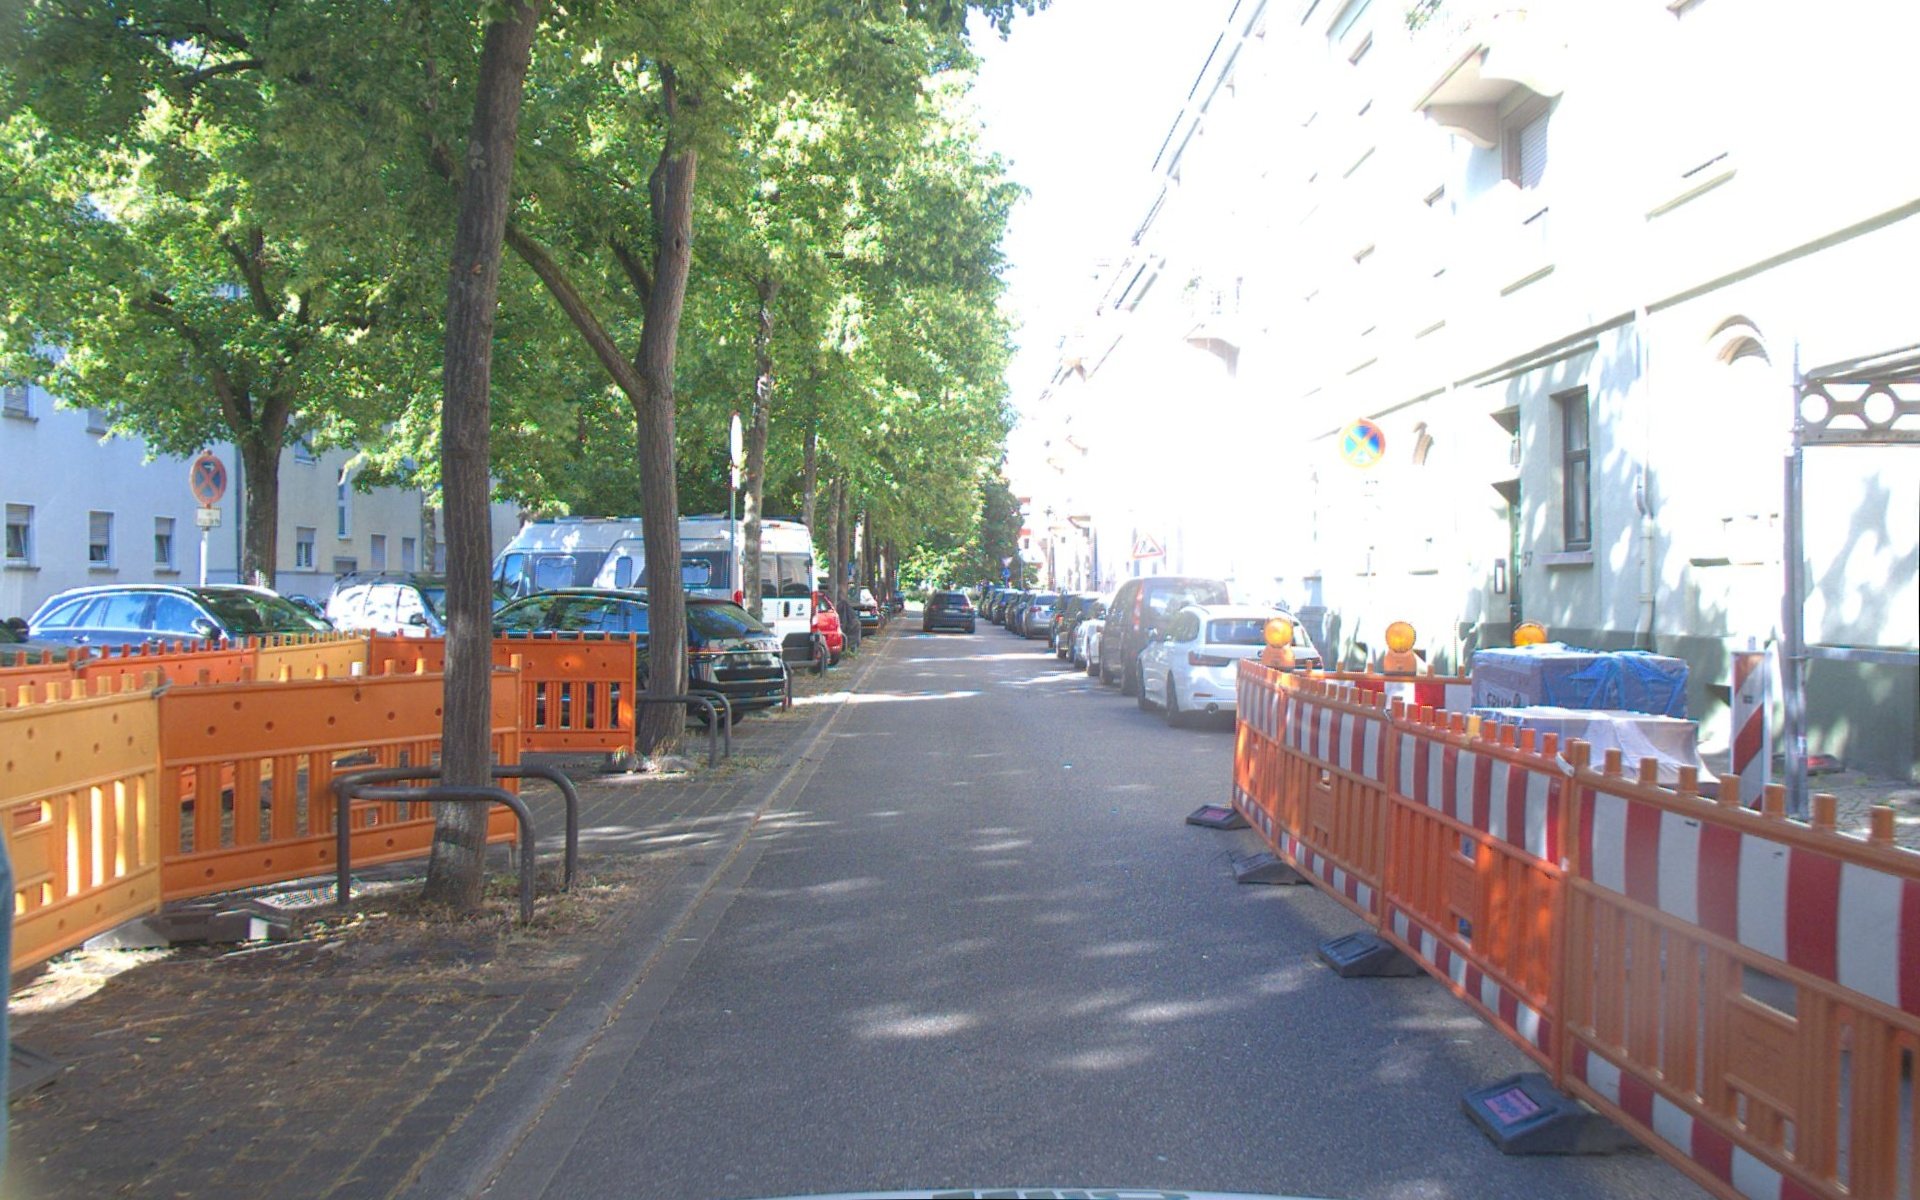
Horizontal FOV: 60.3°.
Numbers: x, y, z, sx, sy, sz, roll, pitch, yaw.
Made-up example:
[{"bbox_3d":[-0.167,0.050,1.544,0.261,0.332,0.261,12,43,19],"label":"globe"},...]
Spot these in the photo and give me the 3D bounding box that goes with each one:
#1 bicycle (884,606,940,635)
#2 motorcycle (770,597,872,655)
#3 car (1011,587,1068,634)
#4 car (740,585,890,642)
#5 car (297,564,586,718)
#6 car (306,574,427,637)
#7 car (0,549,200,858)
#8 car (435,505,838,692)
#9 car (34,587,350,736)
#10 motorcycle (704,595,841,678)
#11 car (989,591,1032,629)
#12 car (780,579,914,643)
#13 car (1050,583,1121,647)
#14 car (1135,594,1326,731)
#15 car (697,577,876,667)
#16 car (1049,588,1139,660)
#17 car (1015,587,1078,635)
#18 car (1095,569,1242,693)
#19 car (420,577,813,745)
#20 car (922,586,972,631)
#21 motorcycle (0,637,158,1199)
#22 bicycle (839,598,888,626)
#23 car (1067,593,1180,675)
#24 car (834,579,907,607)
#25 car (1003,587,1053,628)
[{"bbox_3d":[-1.605,0.679,55.545,1.858,0.935,0.379,1,0,19],"label":"bicycle"},{"bbox_3d":[-3.048,0.557,36.386,2.101,1.251,0.882,0,0,8],"label":"motorcycle"},{"bbox_3d":[2.745,0.333,58.177,1.731,1.579,4.183,-1,0,-1],"label":"car"},{"bbox_3d":[-3.977,0.375,45.181,3.937,1.499,1.621,-1,0,34],"label":"car"},{"bbox_3d":[-7.310,0.518,23.129,4.307,1.948,1.988,0,0,43],"label":"car"},{"bbox_3d":[-14.943,0.108,41.851,1.715,1.461,4.079,-2,1,-3],"label":"car"},{"bbox_3d":[-6.845,0.583,10.077,4.035,1.654,1.698,-1,0,22],"label":"car"},{"bbox_3d":[-5.083,-0.033,25.608,6.192,2.603,2.333,0,0,31],"label":"car"},{"bbox_3d":[-8.084,0.630,17.452,2.884,1.478,1.245,-1,0,16],"label":"car"},{"bbox_3d":[-3.255,0.619,28.655,2.277,1.358,0.966,-1,0,-11],"label":"motorcycle"},{"bbox_3d":[2.215,0.429,73.167,1.768,1.591,4.321,-1,0,0],"label":"car"},{"bbox_3d":[-5.531,0.538,80.930,5.937,2.668,2.457,-4,-2,14],"label":"car"},{"bbox_3d":[3.262,0.363,43.556,1.548,1.578,4.041,0,0,0],"label":"car"},{"bbox_3d":[3.332,0.707,21.113,1.670,1.538,4.283,-1,0,-1],"label":"car"},{"bbox_3d":[-3.484,0.413,32.735,1.649,1.646,3.823,-2,1,-40],"label":"car"},{"bbox_3d":[3.012,0.507,37.710,1.567,1.518,3.965,-1,0,-2],"label":"car"},{"bbox_3d":[2.753,0.335,53.223,1.734,1.456,4.290,-1,0,-1],"label":"car"},{"bbox_3d":[3.287,0.451,26.776,1.735,1.825,3.988,-1,0,-2],"label":"car"},{"bbox_3d":[-3.784,0.678,18.084,4.010,1.552,1.699,-4,0,29],"label":"car"},{"bbox_3d":[-0.436,0.269,58.969,1.679,1.509,4.145,-1,0,0],"label":"car"},{"bbox_3d":[-2.420,0.764,2.790,0.617,1.347,2.230,1,0,14],"label":"motorcycle"},{"bbox_3d":[-3.560,0.453,61.170,1.772,1.011,0.426,0,0,14],"label":"bicycle"},{"bbox_3d":[3.092,0.599,32.068,1.574,1.445,4.567,-1,0,-2],"label":"car"},{"bbox_3d":[-5.231,-0.401,96.162,4.016,1.492,1.862,1,-1,-11],"label":"car"},{"bbox_3d":[2.545,0.272,62.818,1.658,1.493,4.004,1,0,-1],"label":"car"}]
